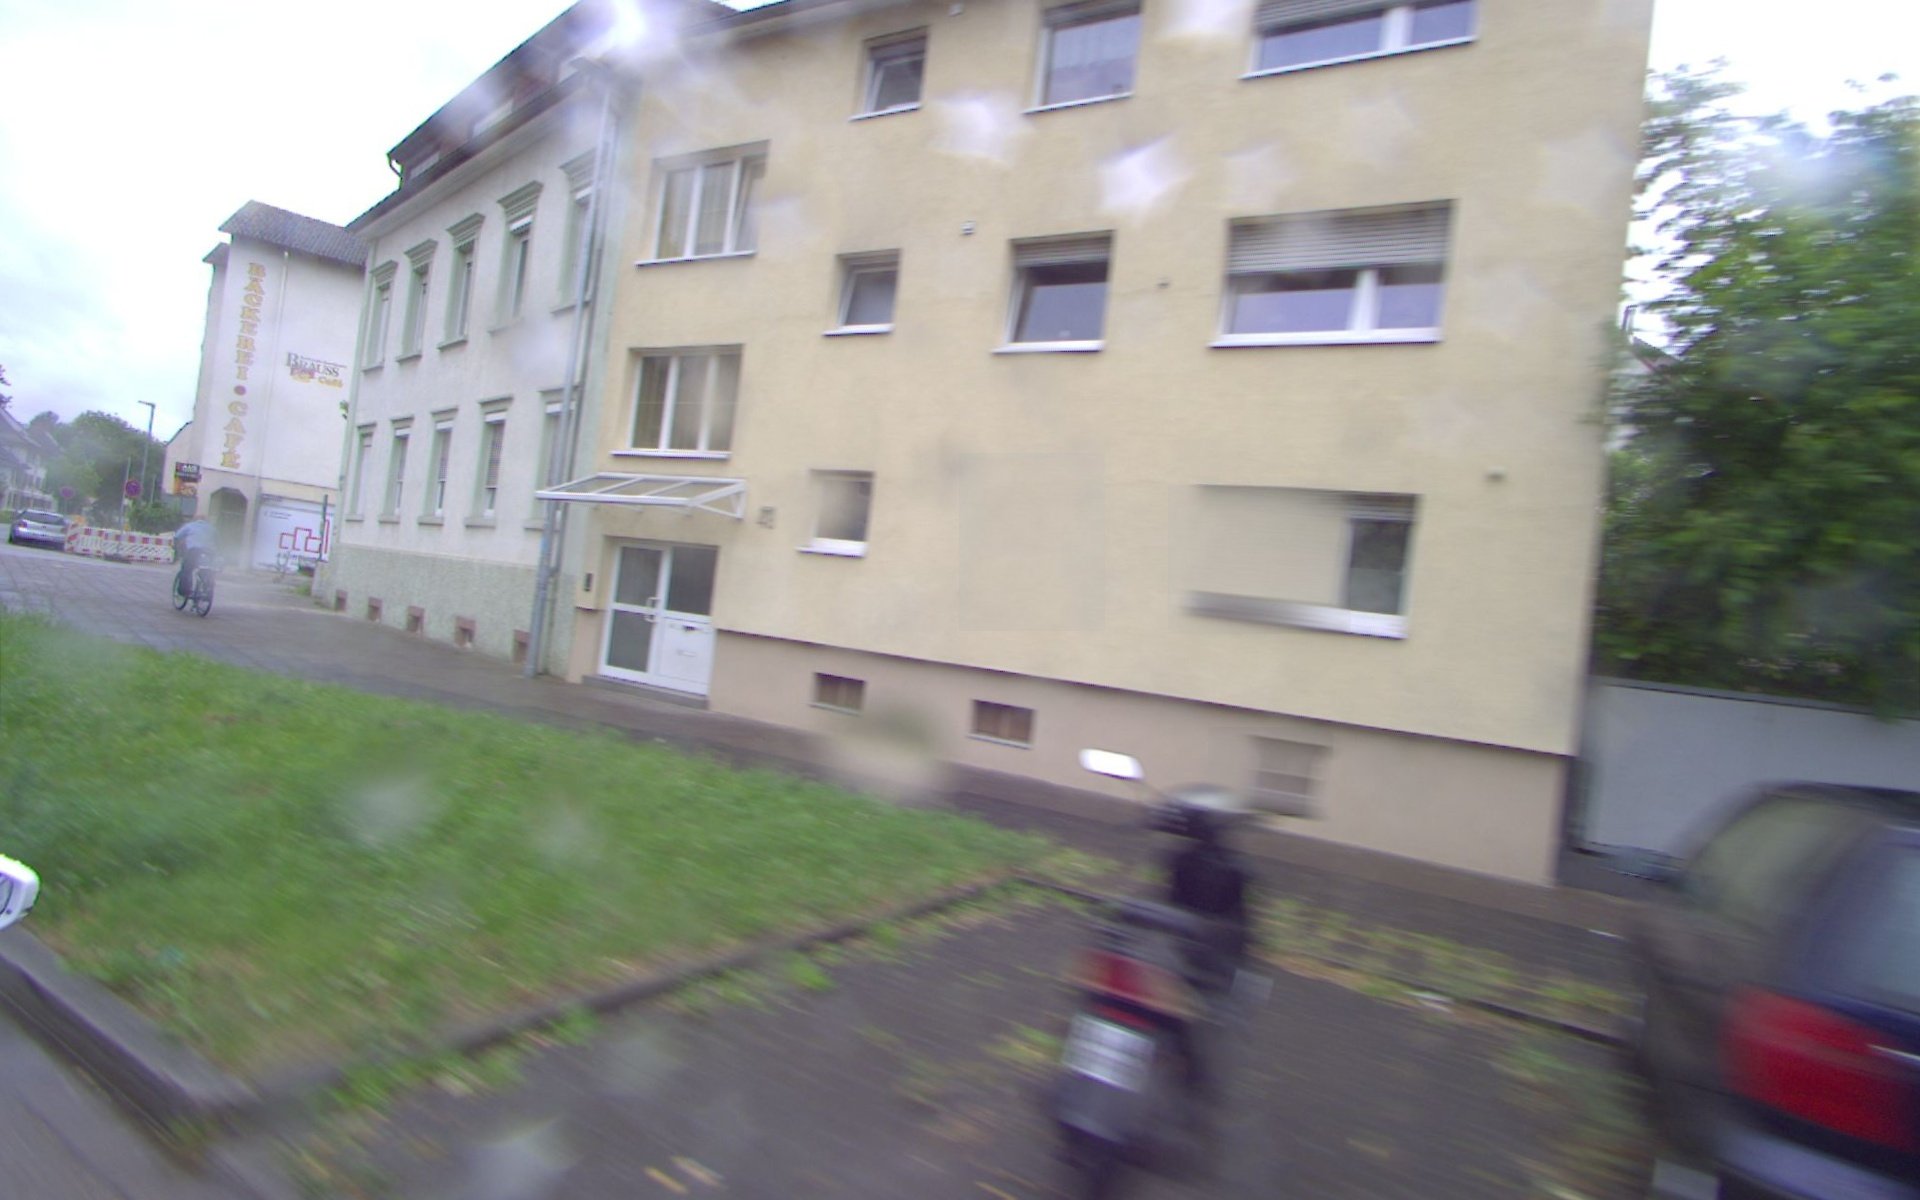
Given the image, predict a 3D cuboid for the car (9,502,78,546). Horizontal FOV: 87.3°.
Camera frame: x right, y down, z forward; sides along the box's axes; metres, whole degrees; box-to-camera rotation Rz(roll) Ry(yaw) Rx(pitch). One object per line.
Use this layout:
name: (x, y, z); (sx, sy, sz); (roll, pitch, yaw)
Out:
car: (-37.460, -3.120, 41.101); (4.121, 1.449, 1.632); (5, -3, 43)

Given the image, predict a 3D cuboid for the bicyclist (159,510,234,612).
bicyclist: (-13.029, -0.659, 17.173); (0.704, 1.600, 0.639); (7, -1, 34)

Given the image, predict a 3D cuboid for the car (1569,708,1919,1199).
car: (3.104, 1.253, 3.130); (1.770, 1.471, 3.761); (8, -2, 30)

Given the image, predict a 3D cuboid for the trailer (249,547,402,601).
trailer: (-23.073, -0.923, 36.784); (4.484, 1.245, 1.813); (9, -3, -28)

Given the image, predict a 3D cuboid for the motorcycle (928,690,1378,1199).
motorcycle: (0.673, 1.004, 2.922); (0.683, 1.339, 1.594); (8, -2, 29)

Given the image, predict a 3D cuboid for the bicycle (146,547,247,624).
bicycle: (-13.068, -0.257, 17.196); (1.940, 1.072, 0.674); (7, -2, 34)

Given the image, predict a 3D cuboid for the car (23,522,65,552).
car: (-63.114, -4.328, 69.357); (1.848, 1.673, 4.257); (9, -3, -40)
